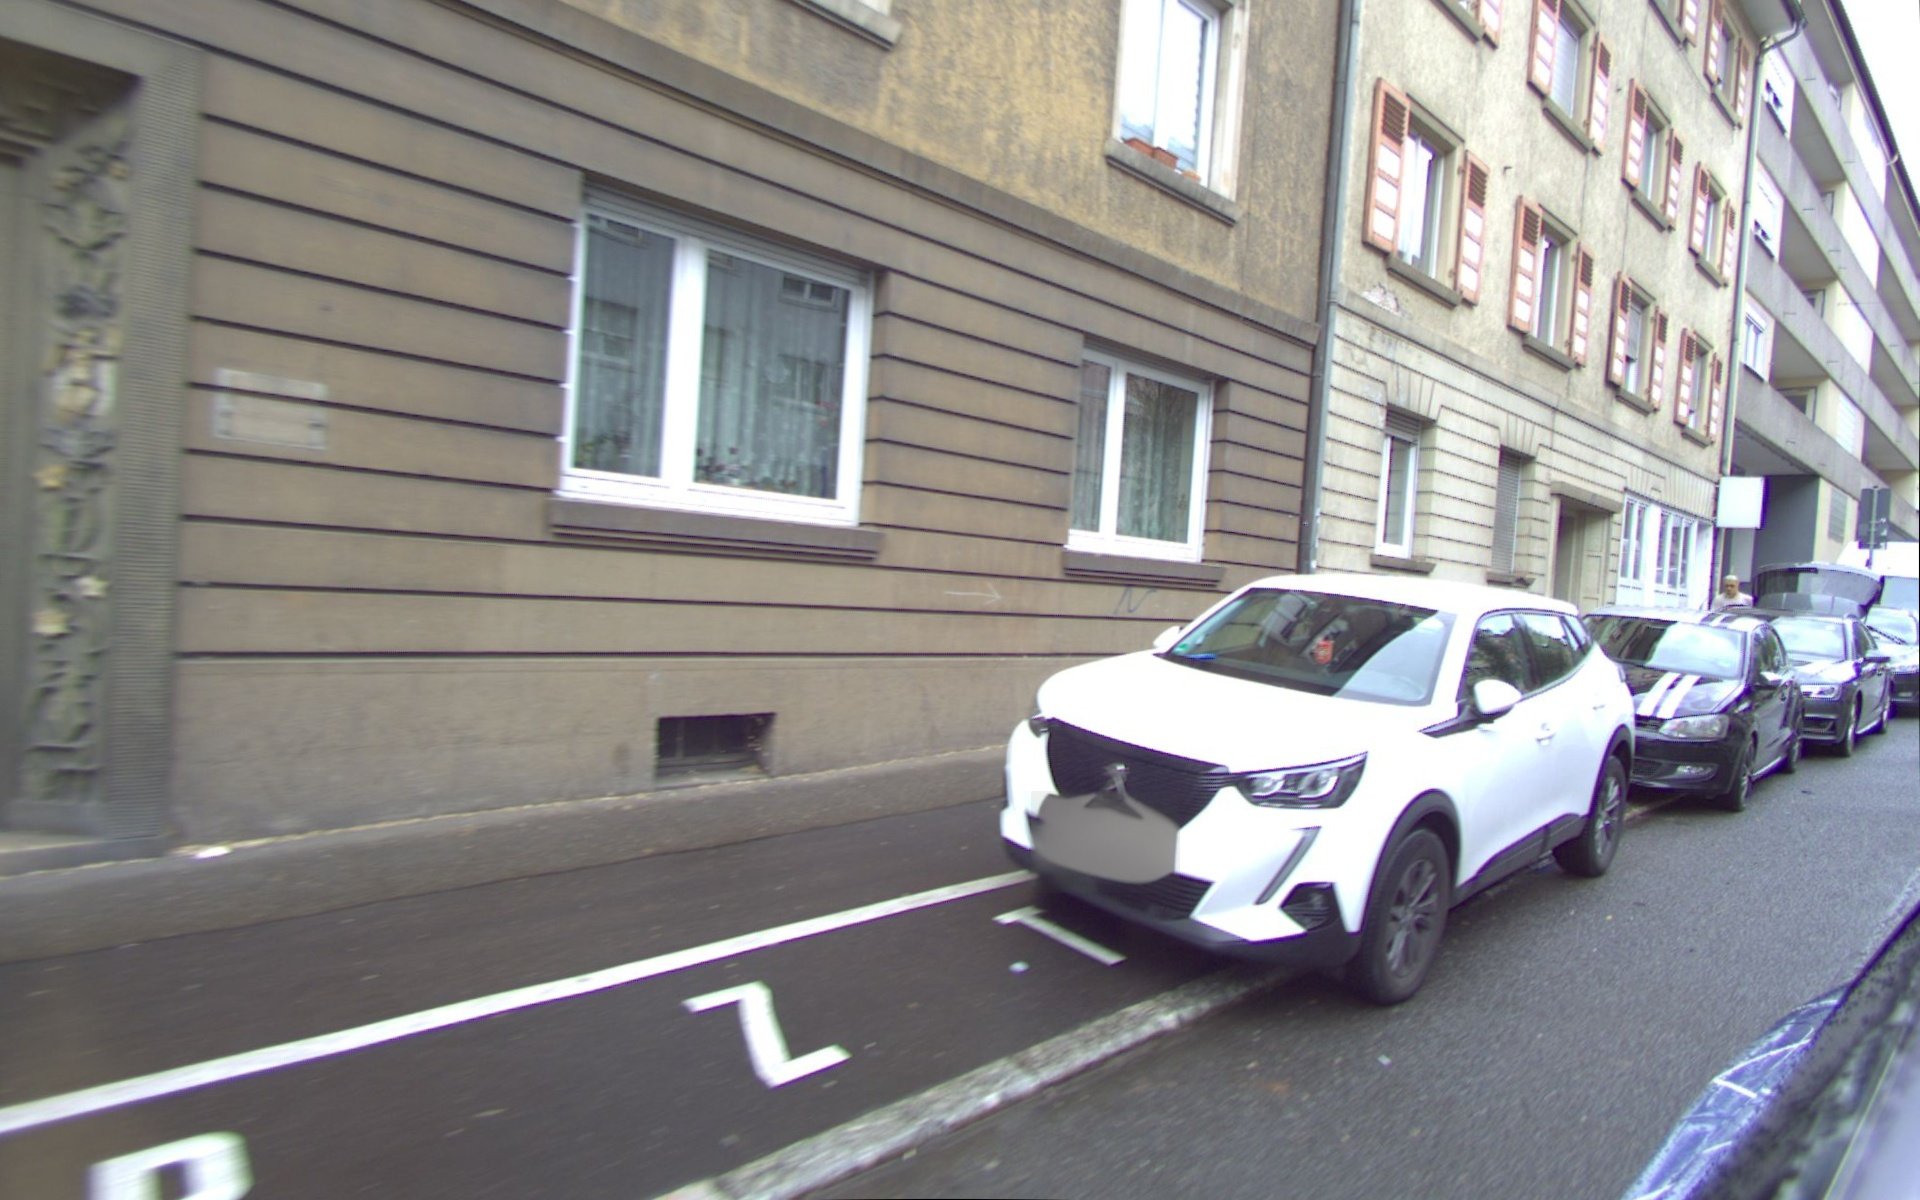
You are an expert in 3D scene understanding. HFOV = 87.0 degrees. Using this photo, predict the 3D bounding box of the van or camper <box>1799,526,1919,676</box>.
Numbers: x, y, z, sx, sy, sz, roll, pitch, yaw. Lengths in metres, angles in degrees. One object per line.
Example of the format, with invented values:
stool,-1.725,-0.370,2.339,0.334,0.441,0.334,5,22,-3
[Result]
van or camper,19.834,0.019,20.840,6.296,2.732,2.193,1,3,-35

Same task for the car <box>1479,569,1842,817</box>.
car,5.991,0.590,8.505,3.672,1.495,1.636,0,7,-43

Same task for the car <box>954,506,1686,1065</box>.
car,2.082,0.513,5.087,4.124,1.657,1.635,0,6,-43

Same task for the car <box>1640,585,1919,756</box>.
car,9.562,0.626,11.613,4.508,1.497,1.781,-1,4,-41

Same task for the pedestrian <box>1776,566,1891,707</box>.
pedestrian,11.452,0.472,13.296,0.622,1.708,0.634,5,8,-6

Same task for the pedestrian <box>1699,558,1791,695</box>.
pedestrian,10.989,0.349,14.195,0.678,1.808,0.709,4,4,20

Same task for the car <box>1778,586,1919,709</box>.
car,13.666,0.627,15.042,4.120,1.497,1.780,0,5,-44

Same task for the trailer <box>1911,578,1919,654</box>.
trailer,25.201,0.323,24.739,4.979,2.178,2.000,2,4,-39
